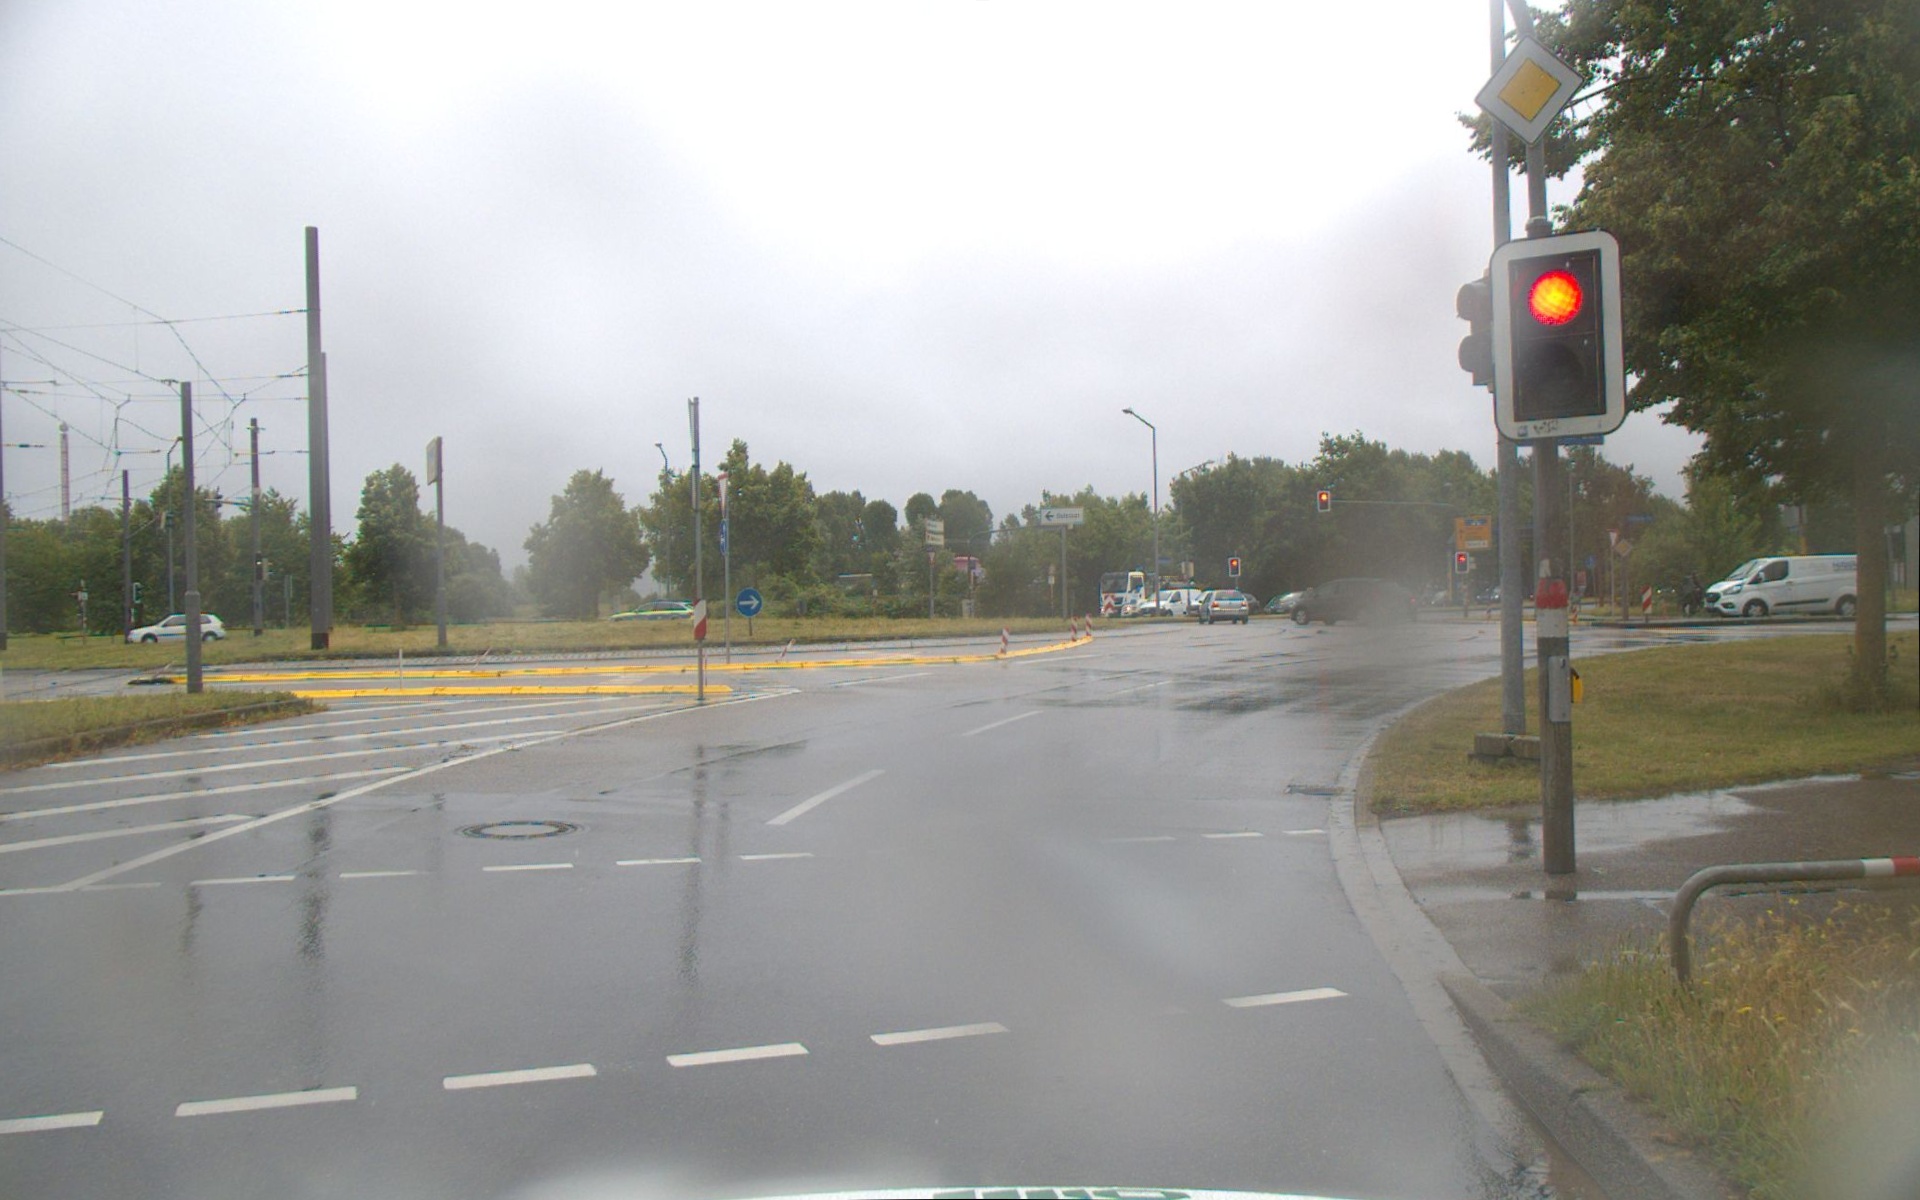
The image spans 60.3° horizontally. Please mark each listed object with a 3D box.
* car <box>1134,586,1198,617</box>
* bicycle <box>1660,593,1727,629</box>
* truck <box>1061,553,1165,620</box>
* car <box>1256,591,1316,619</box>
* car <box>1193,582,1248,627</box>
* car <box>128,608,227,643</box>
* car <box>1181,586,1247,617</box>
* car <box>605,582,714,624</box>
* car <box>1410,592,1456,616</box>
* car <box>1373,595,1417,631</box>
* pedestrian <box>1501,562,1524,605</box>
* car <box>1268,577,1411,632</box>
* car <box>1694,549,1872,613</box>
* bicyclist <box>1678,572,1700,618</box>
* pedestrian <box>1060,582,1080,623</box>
[{"bbox_3d":[12.023,0.080,96.361,1.769,1.691,4.112,0,-1,40],"label":"car"},{"bbox_3d":[28.313,0.425,63.879,0.564,1.337,2.483,2,-1,-31],"label":"bicycle"},{"bbox_3d":[6.982,-0.547,74.207,2.411,2.733,8.058,1,-1,22],"label":"truck"},{"bbox_3d":[20.280,0.323,102.655,1.769,1.691,4.386,0,-1,40],"label":"car"},{"bbox_3d":[11.444,0.241,72.854,1.952,1.884,4.778,1,-1,4],"label":"car"},{"bbox_3d":[-35.018,1.120,74.041,3.929,1.479,1.609,-1,0,-28],"label":"car"},{"bbox_3d":[14.584,0.108,94.818,1.769,1.691,4.386,0,-1,40],"label":"car"},{"bbox_3d":[-14.247,0.136,78.366,4.660,1.883,2.001,-1,0,18],"label":"car"},{"bbox_3d":[34.353,0.287,120.131,1.769,1.691,3.979,0,-1,40],"label":"car"},{"bbox_3d":[18.784,0.556,71.494,1.583,1.479,3.991,-1,0,11],"label":"car"},{"bbox_3d":[24.352,-0.724,72.912,0.799,1.901,0.668,1,-1,7],"label":"pedestrian"},{"bbox_3d":[13.709,0.151,59.925,4.693,1.884,1.987,0,-1,44],"label":"car"},{"bbox_3d":[26.056,-0.589,52.474,4.663,1.884,2.000,1,-1,0],"label":"car"},{"bbox_3d":[28.225,-0.201,64.042,0.490,1.772,0.585,2,-1,-31],"label":"bicyclist"},{"bbox_3d":[3.616,0.089,54.361,0.445,1.327,0.484,-1,0,38],"label":"pedestrian"}]
